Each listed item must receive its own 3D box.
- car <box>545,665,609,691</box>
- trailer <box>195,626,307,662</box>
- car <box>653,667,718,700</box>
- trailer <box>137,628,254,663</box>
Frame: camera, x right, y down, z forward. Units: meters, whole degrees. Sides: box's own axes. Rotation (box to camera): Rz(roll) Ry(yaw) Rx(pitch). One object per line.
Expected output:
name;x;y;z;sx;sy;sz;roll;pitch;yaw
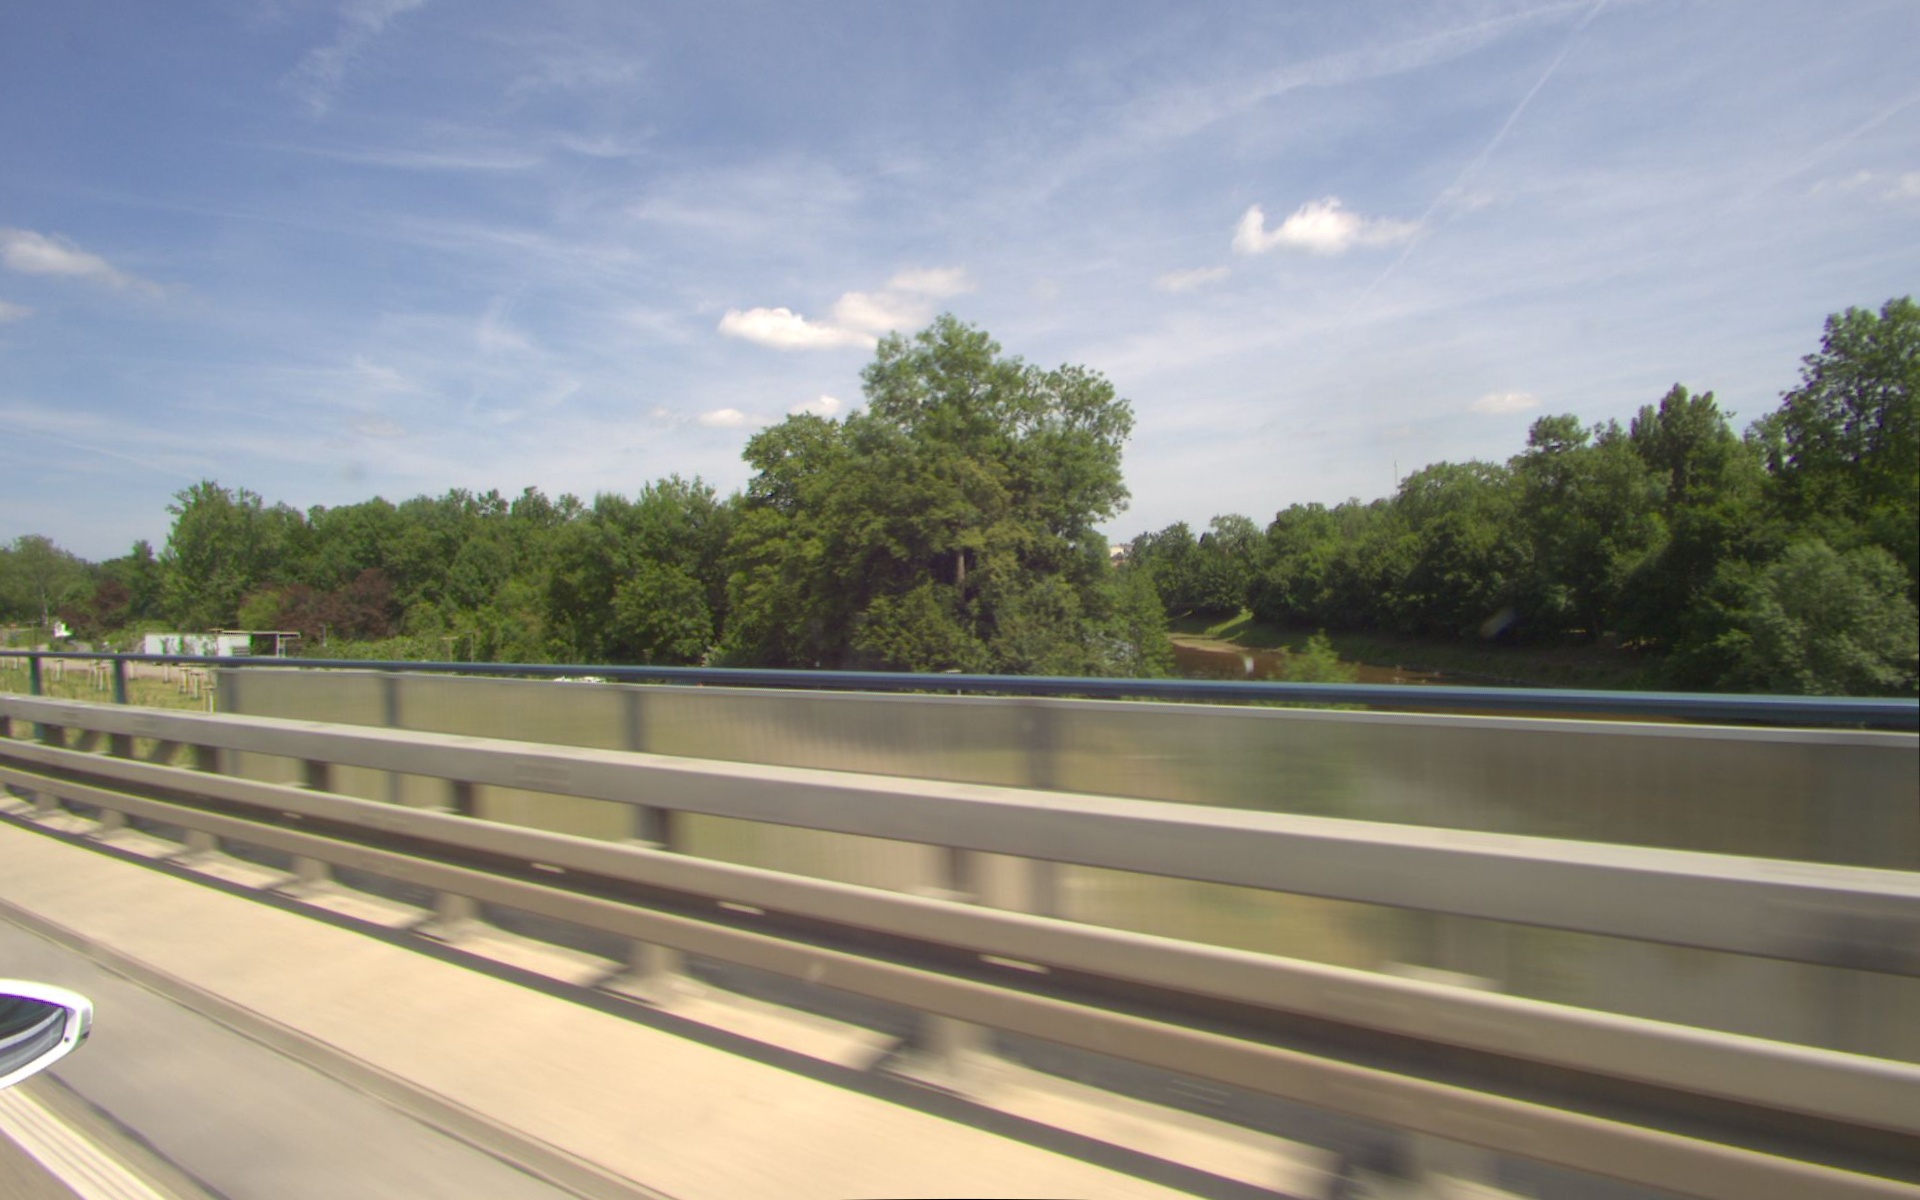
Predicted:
car;-27.404;5.566;71.576;4.540;1.503;1.853;0;3;32
trailer;-74.784;4.597;105.625;11.673;3.653;2.726;0;-1;14
car;-17.997;5.450;65.620;4.141;1.706;1.851;1;4;34
trailer;-78.992;4.671;103.474;11.670;3.371;2.726;0;0;12
